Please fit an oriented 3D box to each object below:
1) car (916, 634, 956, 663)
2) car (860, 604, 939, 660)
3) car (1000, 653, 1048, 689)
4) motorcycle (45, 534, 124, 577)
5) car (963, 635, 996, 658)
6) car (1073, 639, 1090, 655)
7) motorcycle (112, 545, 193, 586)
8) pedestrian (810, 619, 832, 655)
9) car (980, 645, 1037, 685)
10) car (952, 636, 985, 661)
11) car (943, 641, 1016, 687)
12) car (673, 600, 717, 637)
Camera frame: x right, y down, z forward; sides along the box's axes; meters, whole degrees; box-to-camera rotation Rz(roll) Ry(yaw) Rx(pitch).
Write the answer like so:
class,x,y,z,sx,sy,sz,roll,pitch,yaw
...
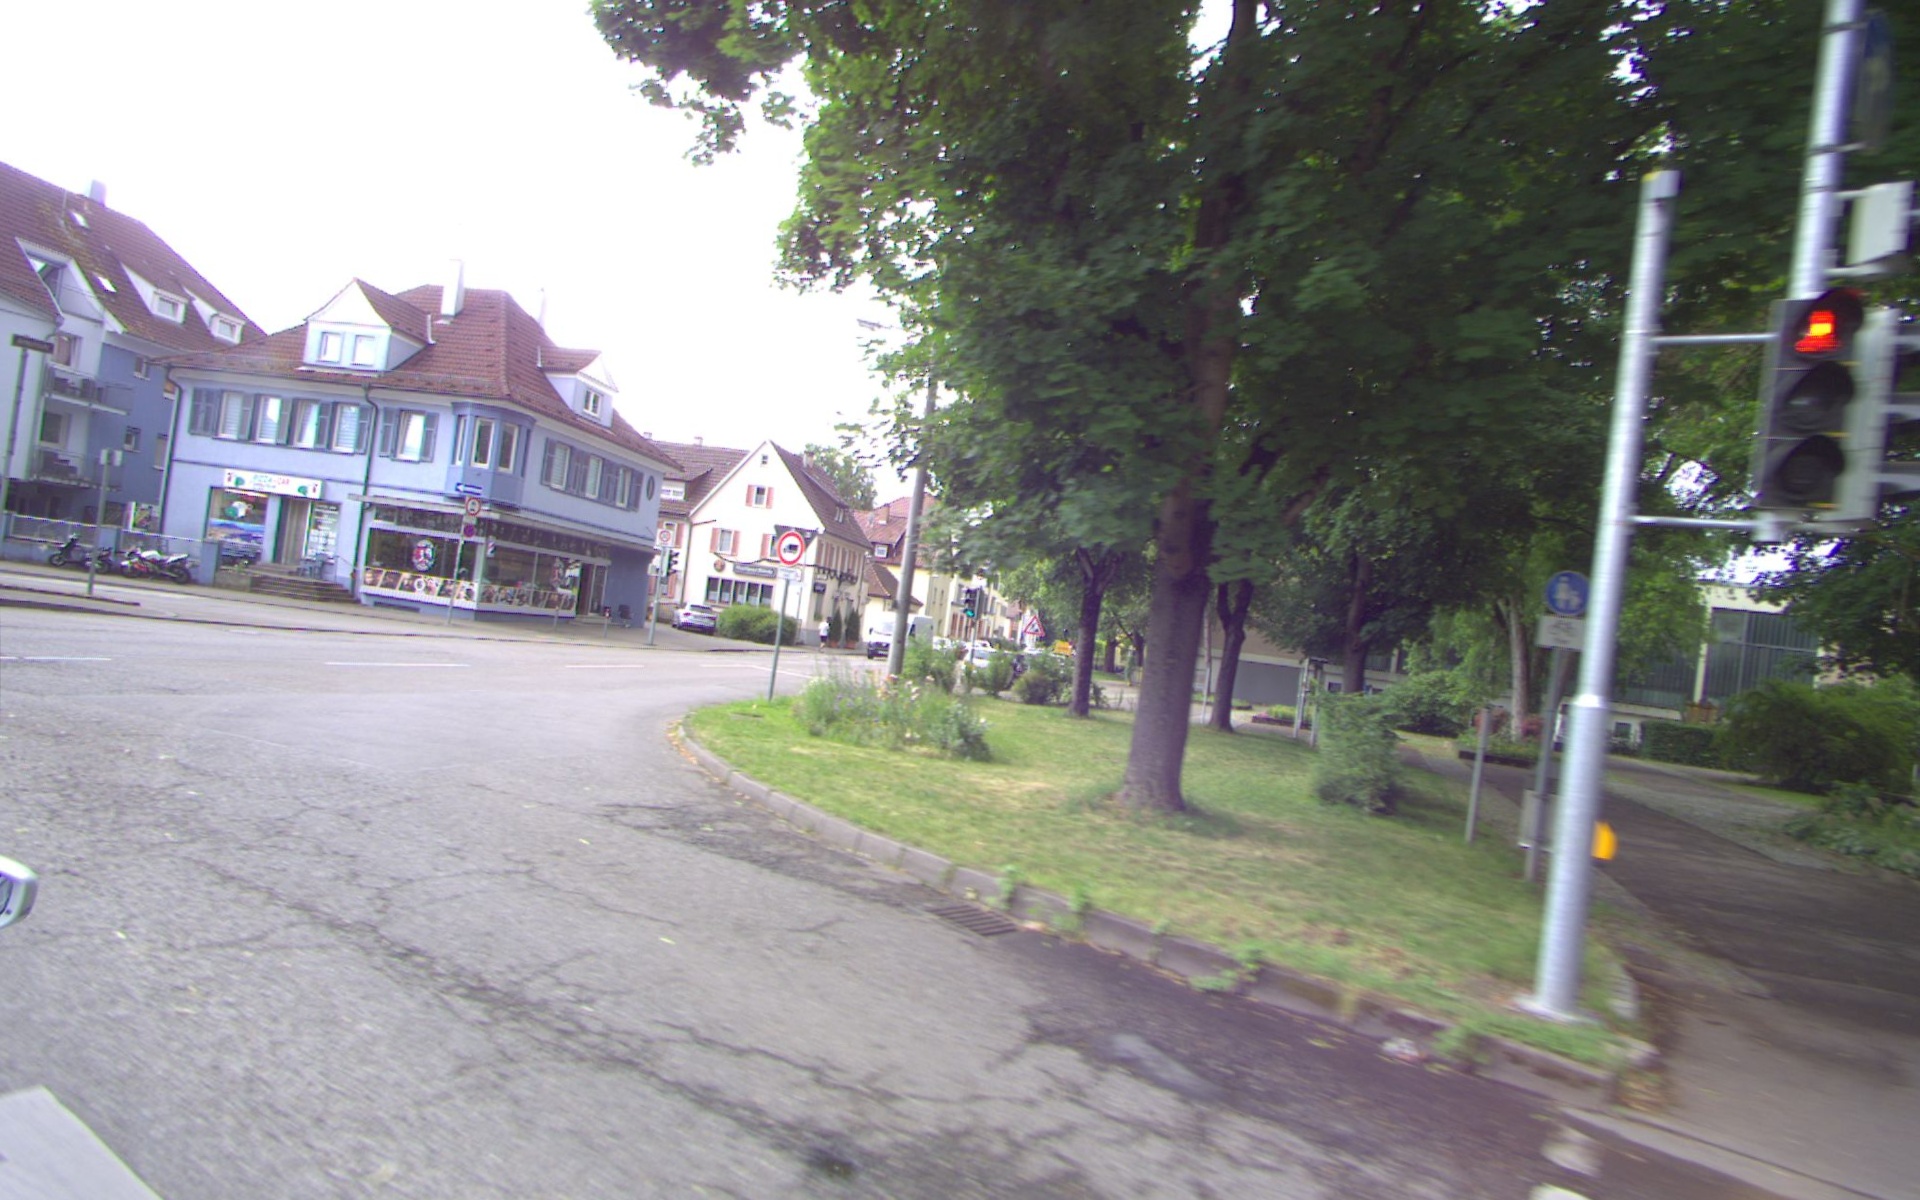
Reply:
class,x,y,z,sx,sy,sz,roll,pitch,yaw
car,-1.670,3.401,70.778,1.902,1.748,3.785,7,-2,10
car,-3.018,1.723,51.820,2.291,2.419,5.966,7,-2,12
car,3.199,3.486,49.593,1.679,1.504,3.763,6,-1,13
motorcycle,-26.342,-1.324,30.287,1.696,1.044,0.489,7,-1,-10
car,1.697,4.059,86.692,1.962,1.681,4.005,7,-2,12
car,17.199,6.679,142.270,1.962,2.037,4.005,7,-2,9
motorcycle,-24.216,-1.026,30.189,1.792,0.997,0.521,7,-1,-10
pedestrian,-6.886,1.839,49.989,0.742,1.717,0.647,7,-1,9
car,2.207,2.898,44.841,1.767,1.472,3.963,7,-2,12
car,0.704,3.921,81.246,1.902,1.748,3.785,7,-2,10
car,0.829,2.509,39.442,1.864,1.472,4.552,7,-2,12
car,-13.038,0.885,49.370,1.550,1.479,3.424,8,-2,-21
